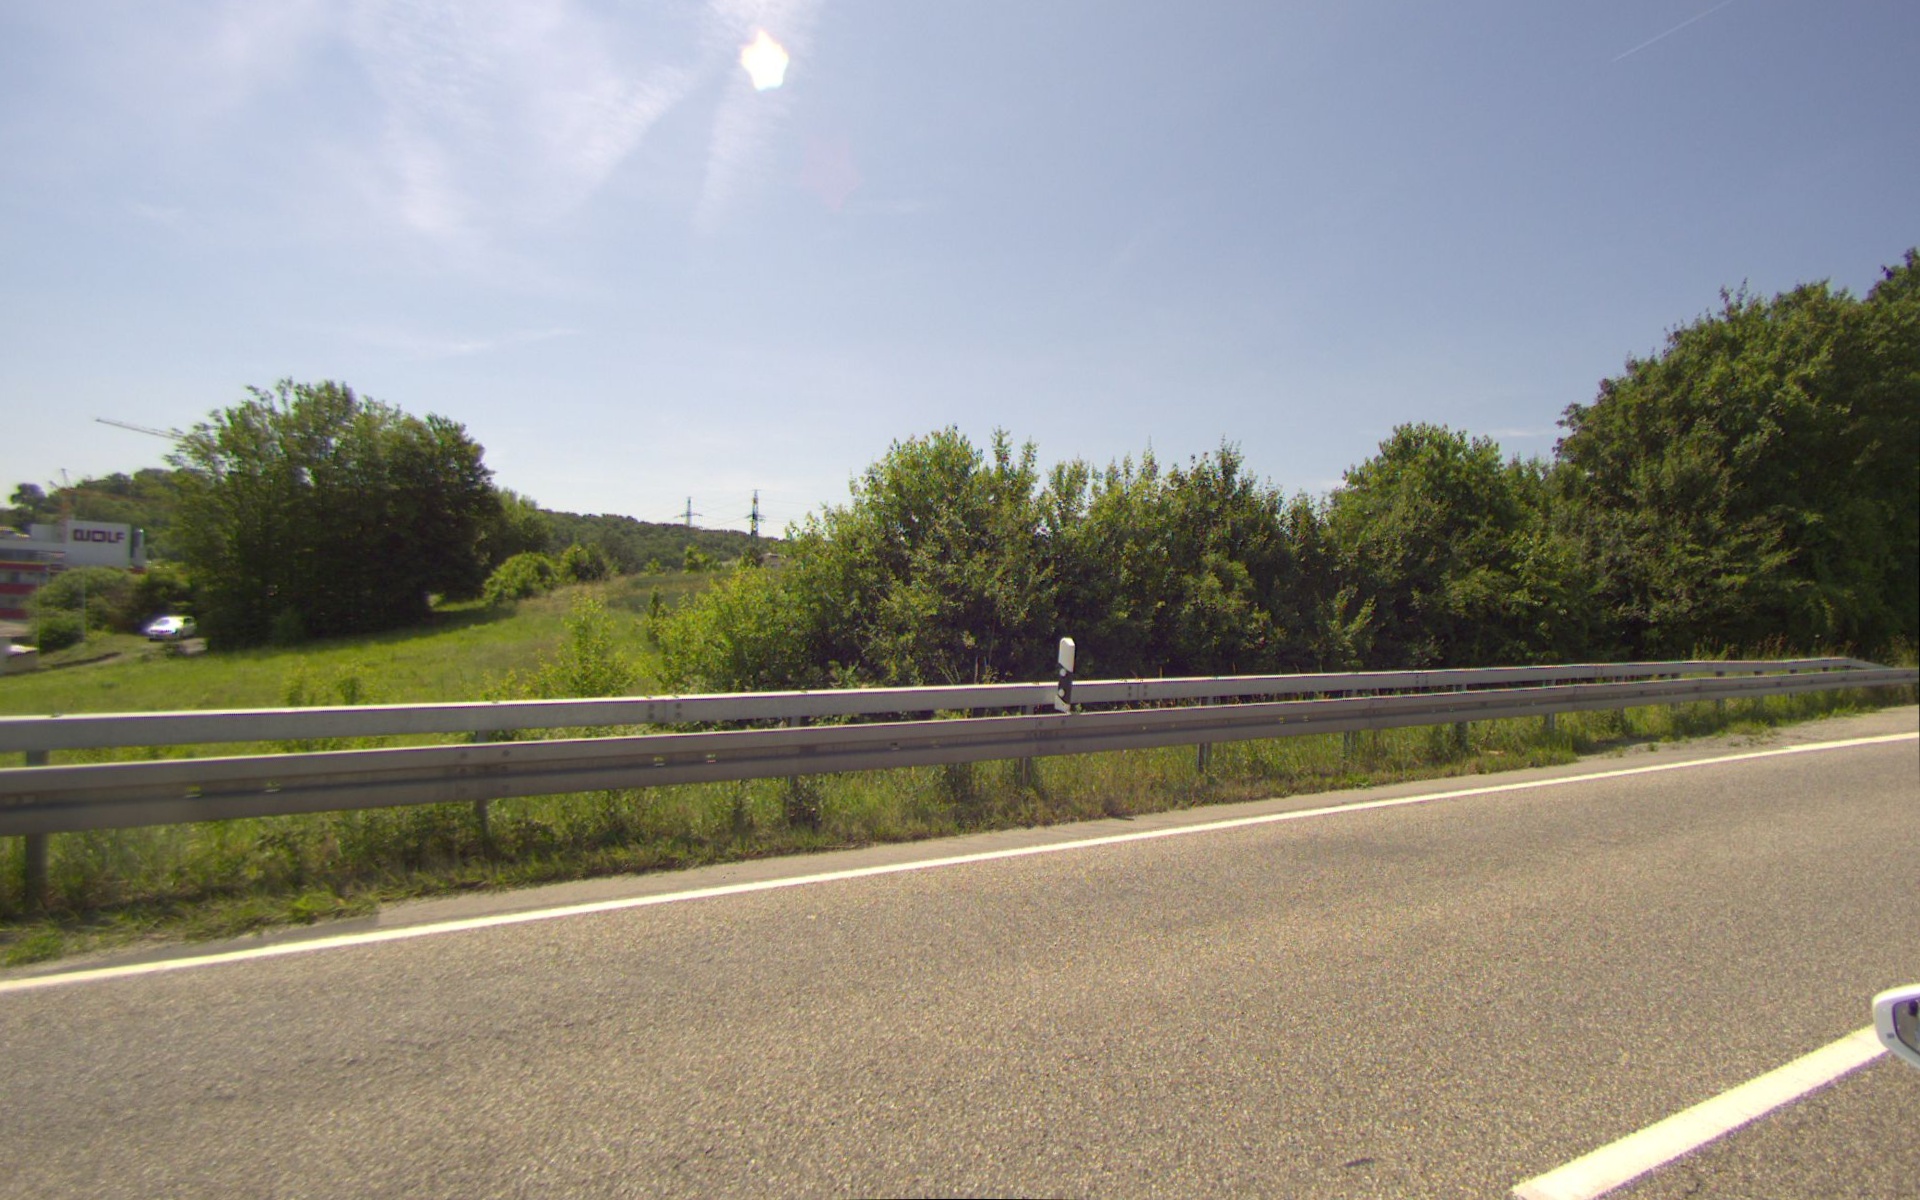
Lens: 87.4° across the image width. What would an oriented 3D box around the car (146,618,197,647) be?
[{"bbox_3d":[-52.916,2.161,67.489,1.807,1.625,3.974,-2,2,-25],"label":"car"}]
